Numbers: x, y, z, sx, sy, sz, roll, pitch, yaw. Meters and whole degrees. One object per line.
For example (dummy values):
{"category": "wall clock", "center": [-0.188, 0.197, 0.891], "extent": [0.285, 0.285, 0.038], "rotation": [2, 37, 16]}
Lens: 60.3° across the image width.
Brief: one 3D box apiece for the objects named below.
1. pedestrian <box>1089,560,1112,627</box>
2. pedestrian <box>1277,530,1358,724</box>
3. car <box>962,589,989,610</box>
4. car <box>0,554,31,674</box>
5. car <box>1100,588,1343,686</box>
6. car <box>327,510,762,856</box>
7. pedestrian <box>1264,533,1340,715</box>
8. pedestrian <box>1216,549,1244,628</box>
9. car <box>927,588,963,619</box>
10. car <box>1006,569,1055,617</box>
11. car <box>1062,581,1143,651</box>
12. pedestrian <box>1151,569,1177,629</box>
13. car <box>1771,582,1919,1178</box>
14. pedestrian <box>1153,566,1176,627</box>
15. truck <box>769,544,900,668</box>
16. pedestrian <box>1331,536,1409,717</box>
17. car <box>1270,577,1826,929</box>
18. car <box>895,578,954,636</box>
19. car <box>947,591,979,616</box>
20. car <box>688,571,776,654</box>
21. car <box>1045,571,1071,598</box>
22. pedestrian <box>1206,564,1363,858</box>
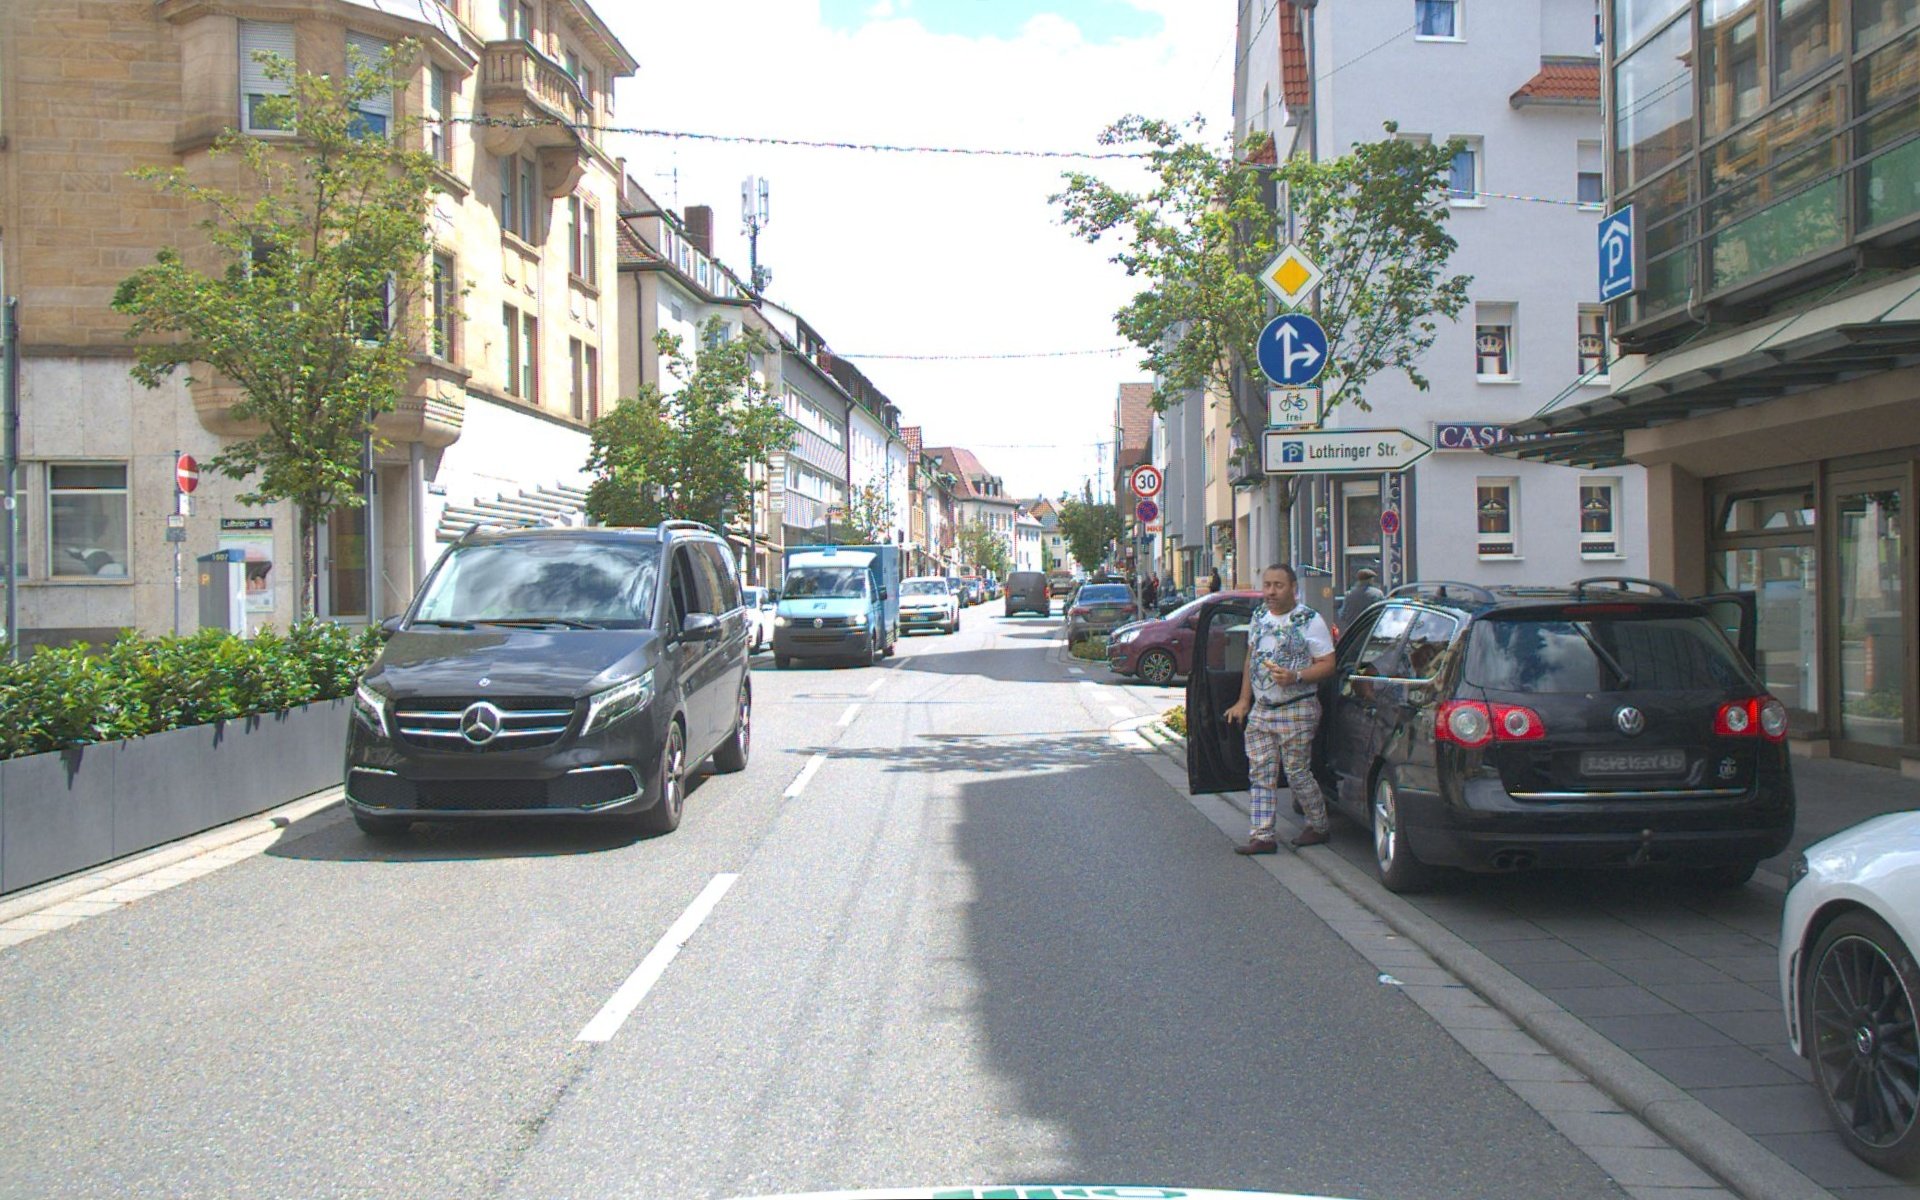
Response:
{"category": "pedestrian", "center": [4.308, -0.201, 50.675], "extent": [0.668, 2.049, 0.599], "rotation": [0, 0, 4]}
{"category": "pedestrian", "center": [3.859, 0.284, 17.898], "extent": [0.675, 2.049, 0.723], "rotation": [0, 0, -5]}
{"category": "car", "center": [1.184, -0.063, 127.413], "extent": [1.953, 1.612, 3.999], "rotation": [0, 0, -1]}
{"category": "car", "center": [-15.511, 0.212, 23.146], "extent": [3.910, 1.691, 1.907], "rotation": [0, 0, -6]}
{"category": "car", "center": [4.067, 0.559, 26.057], "extent": [3.547, 1.438, 1.589], "rotation": [1, 0, -1]}
{"category": "car", "center": [-2.528, 0.416, 11.269], "extent": [1.797, 1.867, 4.570], "rotation": [0, 1, 0]}
{"category": "pedestrian", "center": [3.919, 0.263, 18.978], "extent": [0.675, 2.049, 0.723], "rotation": [0, 0, -5]}
{"category": "pedestrian", "center": [6.665, -0.283, 40.828], "extent": [0.582, 1.923, 0.572], "rotation": [1, 0, 2]}
{"category": "car", "center": [-0.849, 0.177, 90.371], "extent": [1.953, 1.612, 3.999], "rotation": [0, 0, -1]}
{"category": "car", "center": [2.980, -0.330, 69.839], "extent": [1.930, 1.908, 5.040], "rotation": [-1, 1, 3]}
{"category": "car", "center": [3.166, 0.329, 37.253], "extent": [1.489, 1.459, 3.370], "rotation": [-1, 1, 0]}
{"category": "pedestrian", "center": [6.582, -0.039, 53.369], "extent": [0.564, 1.923, 0.640], "rotation": [1, 0, -27]}
{"category": "car", "center": [3.147, 0.688, 2.644], "extent": [1.588, 1.459, 4.239], "rotation": [-1, 0, 0]}
{"category": "pedestrian", "center": [6.895, -0.134, 55.814], "extent": [0.668, 2.049, 0.598], "rotation": [0, 0, -3]}
{"category": "truck", "center": [-2.363, 0.063, 32.486], "extent": [2.023, 2.203, 5.295], "rotation": [-1, 1, 1]}
{"category": "pedestrian", "center": [4.734, 0.293, 19.120], "extent": [0.675, 2.049, 0.723], "rotation": [0, 0, -5]}
{"category": "car", "center": [2.905, 0.626, 9.145], "extent": [1.573, 1.459, 4.174], "rotation": [-1, 1, 0]}
{"category": "car", "center": [-1.033, 0.169, 48.204], "extent": [1.662, 1.612, 3.957], "rotation": [0, 0, -1]}
{"category": "car", "center": [0.193, 0.204, 107.141], "extent": [1.953, 1.612, 3.999], "rotation": [0, 0, -1]}
{"category": "car", "center": [-5.036, 0.219, 36.896], "extent": [1.676, 1.742, 3.997], "rotation": [0, 1, -4]}
{"category": "car", "center": [8.881, -1.410, 149.327], "extent": [2.021, 2.341, 4.228], "rotation": [1, 0, 7]}
{"category": "pedestrian", "center": [1.884, 0.610, 9.580], "extent": [0.654, 1.622, 0.675], "rotation": [1, 0, 37]}
